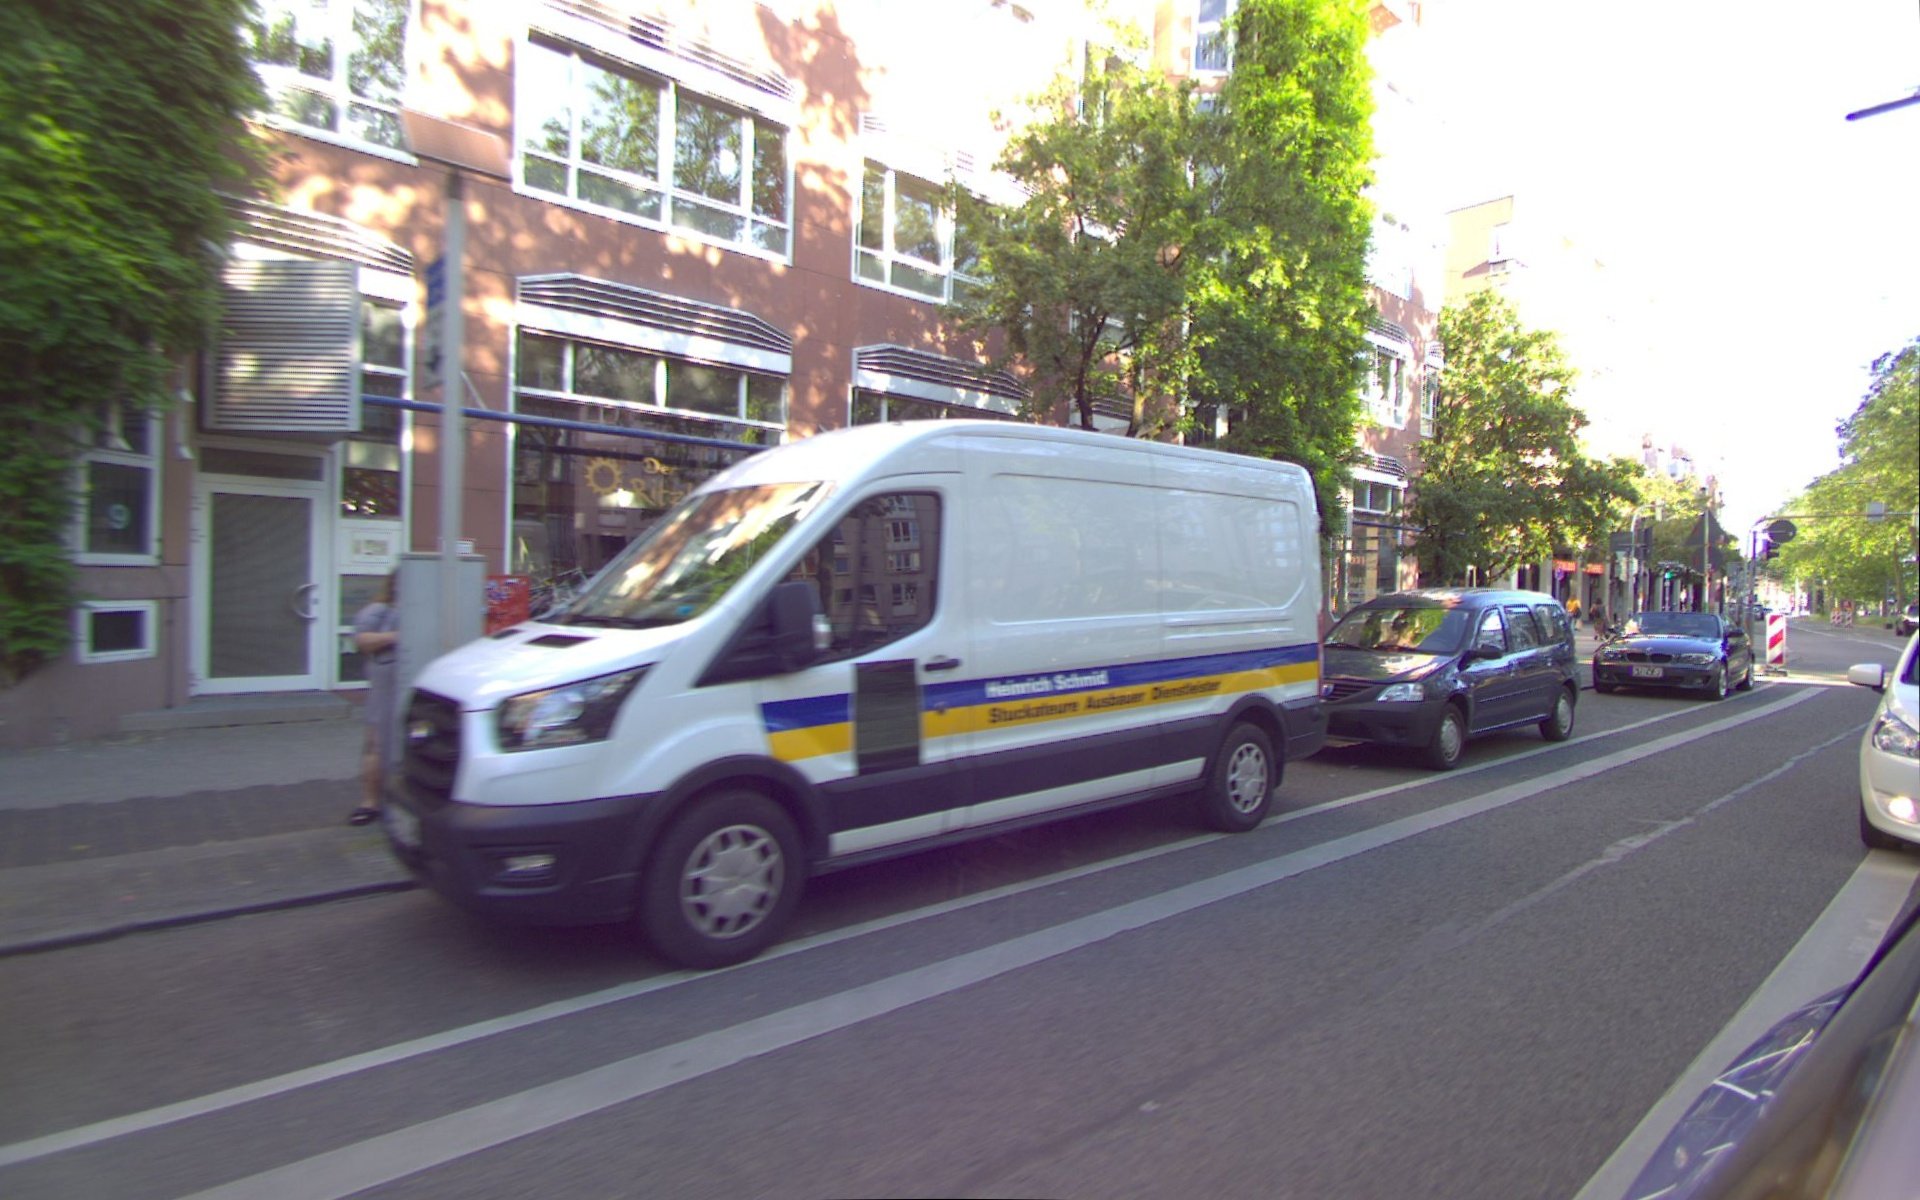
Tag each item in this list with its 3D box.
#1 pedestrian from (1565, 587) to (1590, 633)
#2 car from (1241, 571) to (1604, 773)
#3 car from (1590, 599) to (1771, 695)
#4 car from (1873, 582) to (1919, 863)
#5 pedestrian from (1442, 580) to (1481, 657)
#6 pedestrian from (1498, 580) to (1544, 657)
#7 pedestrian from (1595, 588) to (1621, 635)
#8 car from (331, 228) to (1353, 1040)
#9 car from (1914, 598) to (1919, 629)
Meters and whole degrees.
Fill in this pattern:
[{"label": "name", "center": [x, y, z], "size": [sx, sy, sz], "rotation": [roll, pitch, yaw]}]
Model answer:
[{"label": "pedestrian", "center": [22.140, 0.350, 36.285], "size": [0.677, 1.636, 0.548], "rotation": [1, 1, 40]}, {"label": "car", "center": [4.917, 0.567, 10.445], "size": [4.399, 1.647, 1.806], "rotation": [0, 1, -42]}, {"label": "car", "center": [11.993, 0.681, 16.746], "size": [3.927, 1.347, 1.805], "rotation": [0, 1, -45]}, {"label": "car", "center": [7.175, 0.681, 6.437], "size": [4.132, 1.519, 1.805], "rotation": [0, 1, -45]}, {"label": "pedestrian", "center": [10.923, 0.388, 22.029], "size": [0.589, 1.628, 0.562], "rotation": [0, 1, -42]}, {"label": "pedestrian", "center": [12.102, 0.387, 21.832], "size": [0.708, 1.628, 0.641], "rotation": [0, 1, -42]}, {"label": "pedestrian", "center": [22.750, 0.397, 35.536], "size": [0.677, 1.636, 0.548], "rotation": [1, 1, 40]}, {"label": "car", "center": [-0.138, 0.084, 5.965], "size": [5.802, 2.597, 2.118], "rotation": [0, 1, -41]}, {"label": "car", "center": [50.115, 0.660, 51.505], "size": [3.932, 1.552, 1.996], "rotation": [-1, 0, -42]}]
